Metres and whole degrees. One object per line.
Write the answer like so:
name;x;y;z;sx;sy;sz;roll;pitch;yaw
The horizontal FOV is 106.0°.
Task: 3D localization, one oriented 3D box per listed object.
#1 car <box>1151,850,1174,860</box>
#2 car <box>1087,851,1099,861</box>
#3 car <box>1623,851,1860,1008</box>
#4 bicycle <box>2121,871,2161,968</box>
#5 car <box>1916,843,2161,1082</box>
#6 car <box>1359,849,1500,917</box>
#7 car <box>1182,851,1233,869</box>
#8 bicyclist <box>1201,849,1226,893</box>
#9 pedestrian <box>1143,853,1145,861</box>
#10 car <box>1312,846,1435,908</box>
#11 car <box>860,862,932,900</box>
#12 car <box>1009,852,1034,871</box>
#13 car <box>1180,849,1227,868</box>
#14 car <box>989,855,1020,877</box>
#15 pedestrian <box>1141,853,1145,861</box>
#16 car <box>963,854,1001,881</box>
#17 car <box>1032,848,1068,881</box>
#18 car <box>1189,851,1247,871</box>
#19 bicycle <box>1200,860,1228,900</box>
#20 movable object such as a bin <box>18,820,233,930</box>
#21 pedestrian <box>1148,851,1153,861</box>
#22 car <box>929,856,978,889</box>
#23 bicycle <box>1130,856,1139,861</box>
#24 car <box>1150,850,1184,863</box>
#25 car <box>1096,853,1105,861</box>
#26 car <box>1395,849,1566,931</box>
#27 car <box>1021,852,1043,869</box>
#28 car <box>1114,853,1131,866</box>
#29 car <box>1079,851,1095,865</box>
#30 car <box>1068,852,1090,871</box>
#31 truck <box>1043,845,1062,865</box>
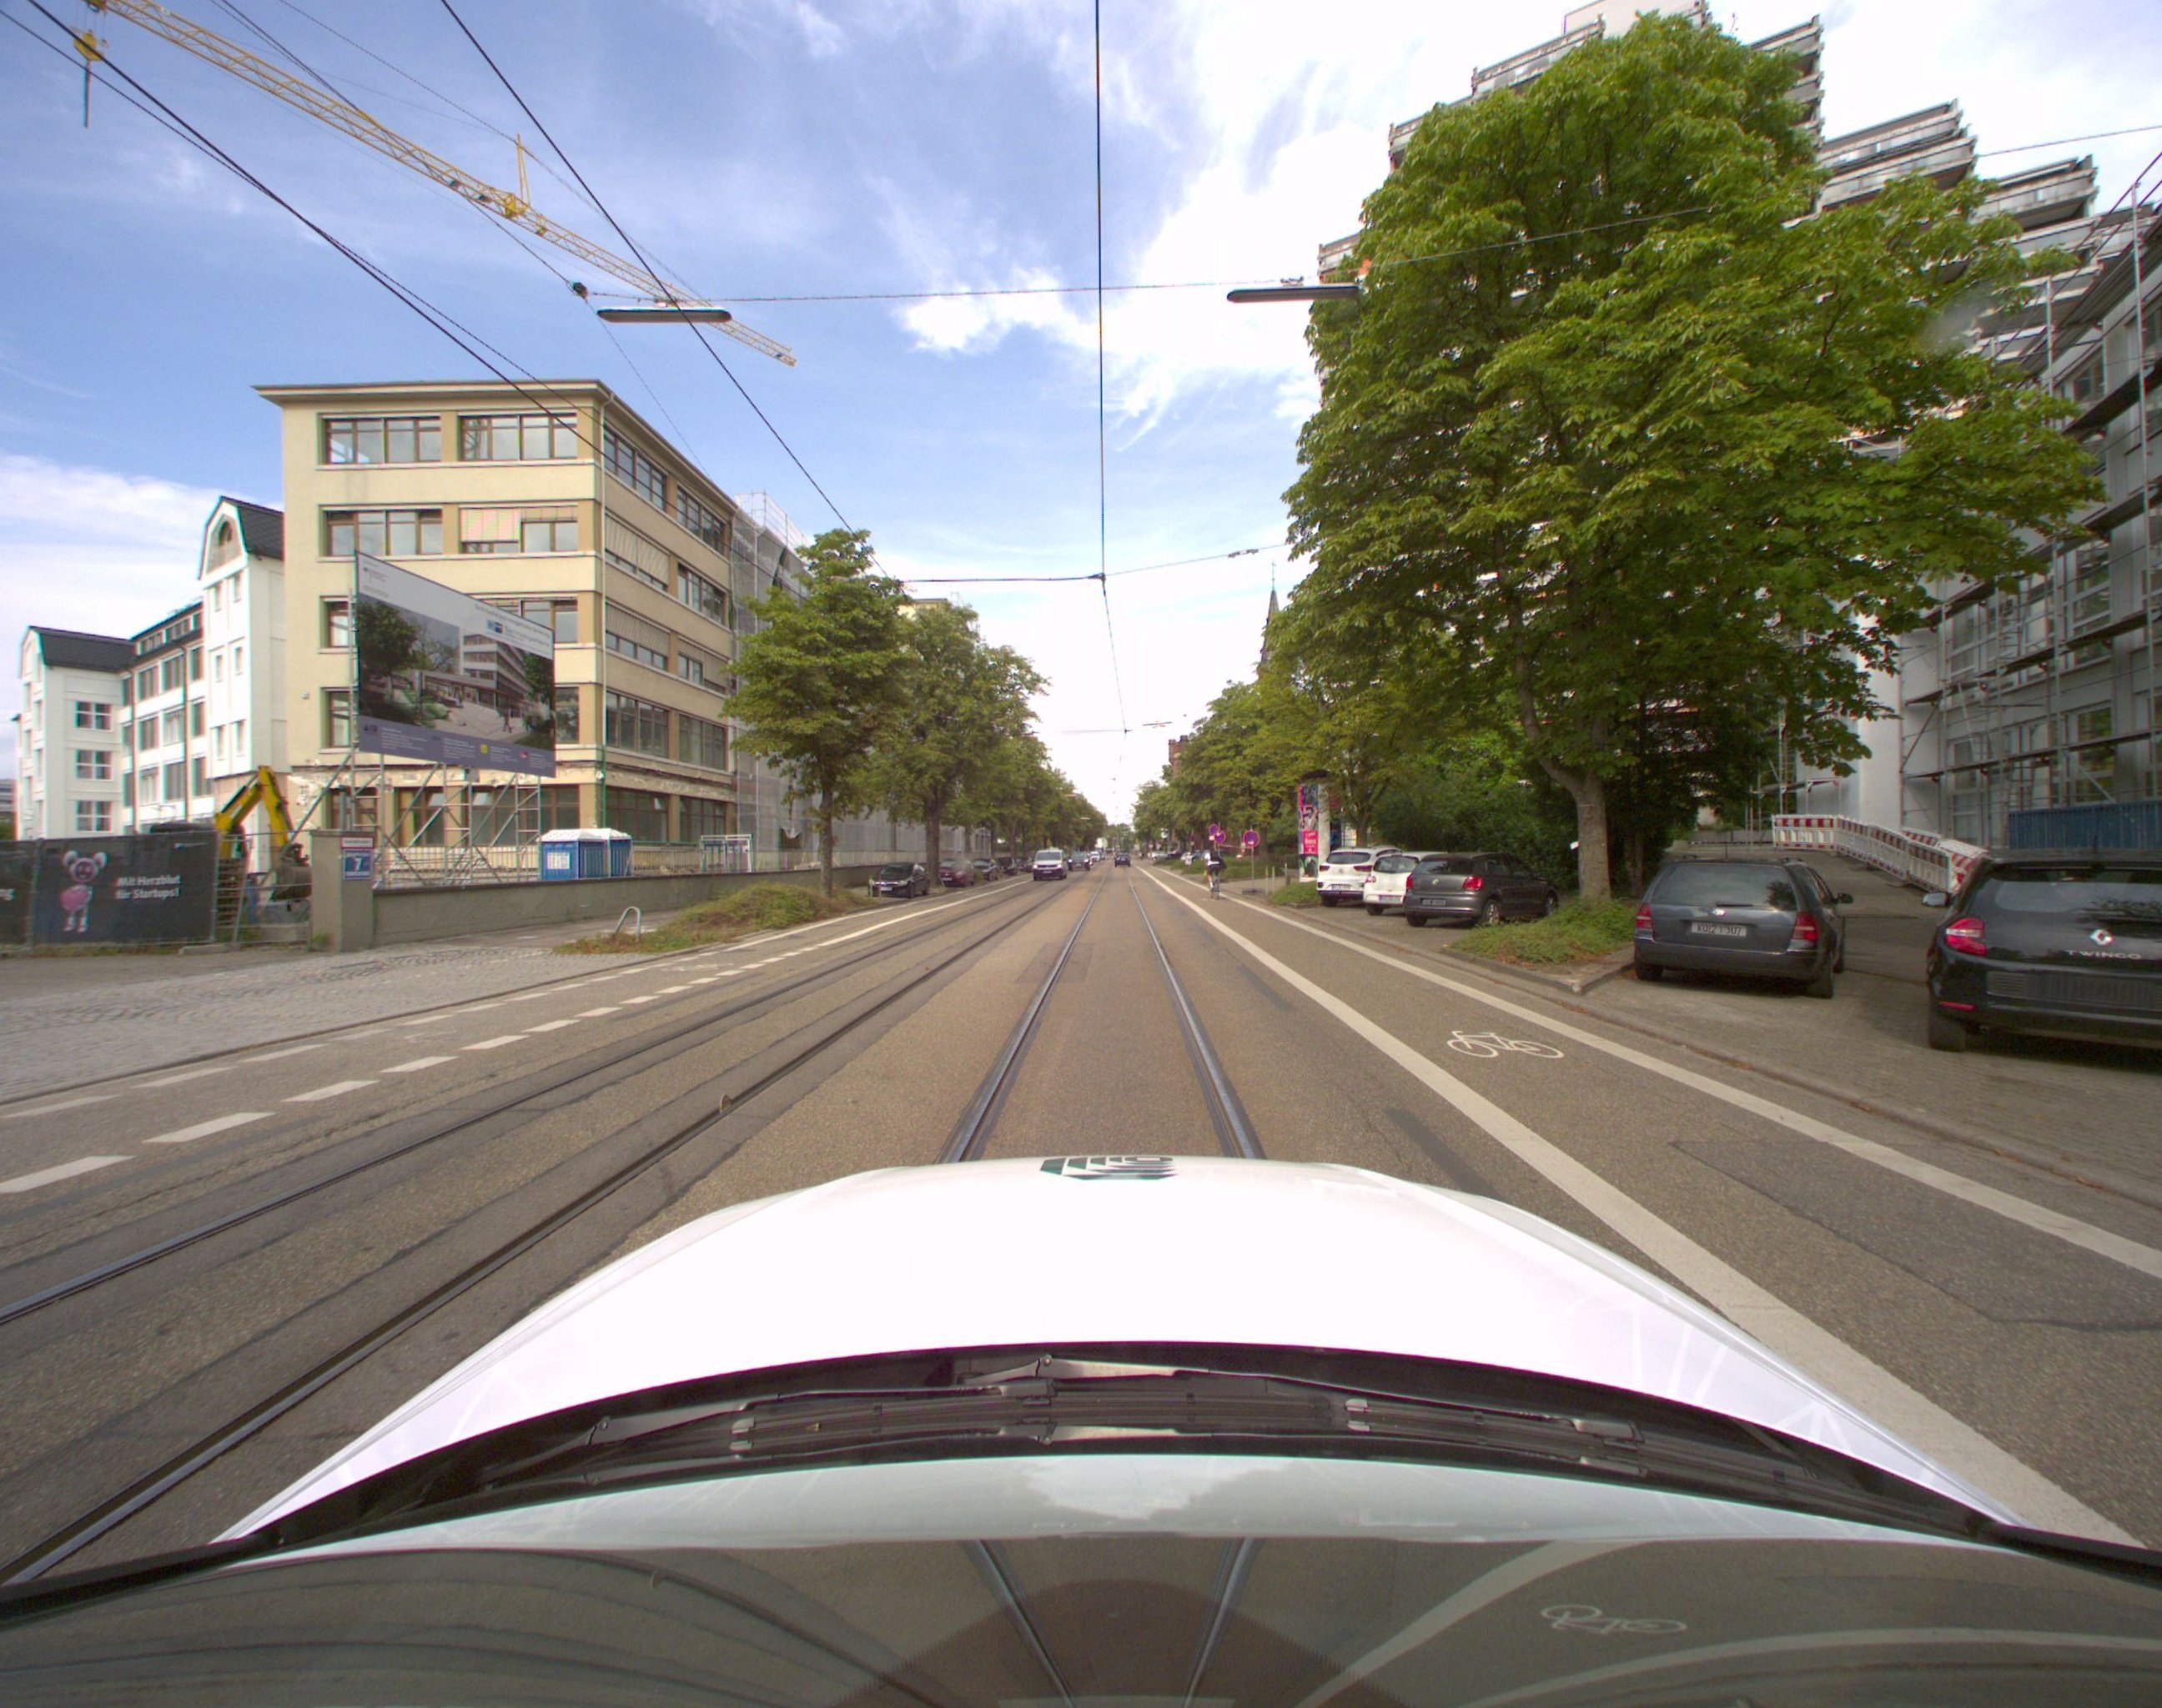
car;14.542;0.160;145.035;3.975;1.910;1.999;0;0;-1
car;2.012;0.298;135.567;1.795;1.622;4.486;-2;0;2
car;7.768;0.706;9.461;3.760;1.458;1.620;0;0;-43
bicycle;13.618;0.746;9.360;1.947;1.128;0.542;-2;-1;32
car;8.092;0.693;6.689;3.760;1.522;1.620;0;0;-43
car;8.279;0.620;19.263;3.463;1.442;1.543;-1;0;-37
car;10.542;0.499;67.858;3.975;1.425;1.884;-1;0;-1
bicyclist;4.432;0.553;27.275;0.655;1.463;1.179;0;0;1
pedestrian;15.626;0.839;203.221;0.515;2.013;0.480;0;0;6
car;8.068;0.569;22.373;3.463;1.573;1.543;-1;0;-37
car;-7.366;1.041;32.809;1.795;1.374;4.033;-2;0;2
car;-5.280;0.686;73.021;1.795;1.583;4.033;-2;0;2
car;11.018;0.366;73.253;3.975;1.627;1.884;-1;0;-1
car;-5.867;0.864;62.792;1.795;1.583;4.033;-2;0;2
pedestrian;12.630;0.622;166.988;0.721;1.646;0.769;0;0;12
car;-6.271;0.823;52.060;1.795;1.583;4.033;-2;0;2
car;-1.826;0.614;49.435;1.795;1.823;4.486;-2;0;2
car;10.222;0.541;60.959;3.975;1.425;1.884;-1;0;-1
bicycle;4.432;0.833;27.274;0.655;1.249;2.125;0;0;1
movable object such as a bin;-18.970;0.395;16.270;1.977;2.067;1.963;-1;0;4
pedestrian;11.916;0.305;139.896;0.723;1.646;0.767;0;0;4
car;-6.722;0.950;43.193;1.795;1.583;4.033;-2;0;2
bicycle;11.049;0.939;167.164;1.709;0.991;0.660;0;0;11
car;10.414;0.266;98.933;3.975;1.508;1.884;-1;0;-1
car;4.175;0.591;175.113;1.795;1.622;4.486;-2;0;2
car;7.997;0.640;16.218;3.551;1.442;1.606;-1;0;-37
car;-4.911;0.639;81.836;1.795;1.583;4.033;-2;0;2
car;4.593;0.625;89.720;1.786;1.423;4.002;0;0;2
car;0.762;0.500;101.820;1.795;1.622;4.486;-2;0;2
car;-0.128;0.660;72.817;1.795;1.622;4.486;-2;0;2
truck;-3.677;0.079;106.428;2.063;2.470;4.901;-2;0;2
